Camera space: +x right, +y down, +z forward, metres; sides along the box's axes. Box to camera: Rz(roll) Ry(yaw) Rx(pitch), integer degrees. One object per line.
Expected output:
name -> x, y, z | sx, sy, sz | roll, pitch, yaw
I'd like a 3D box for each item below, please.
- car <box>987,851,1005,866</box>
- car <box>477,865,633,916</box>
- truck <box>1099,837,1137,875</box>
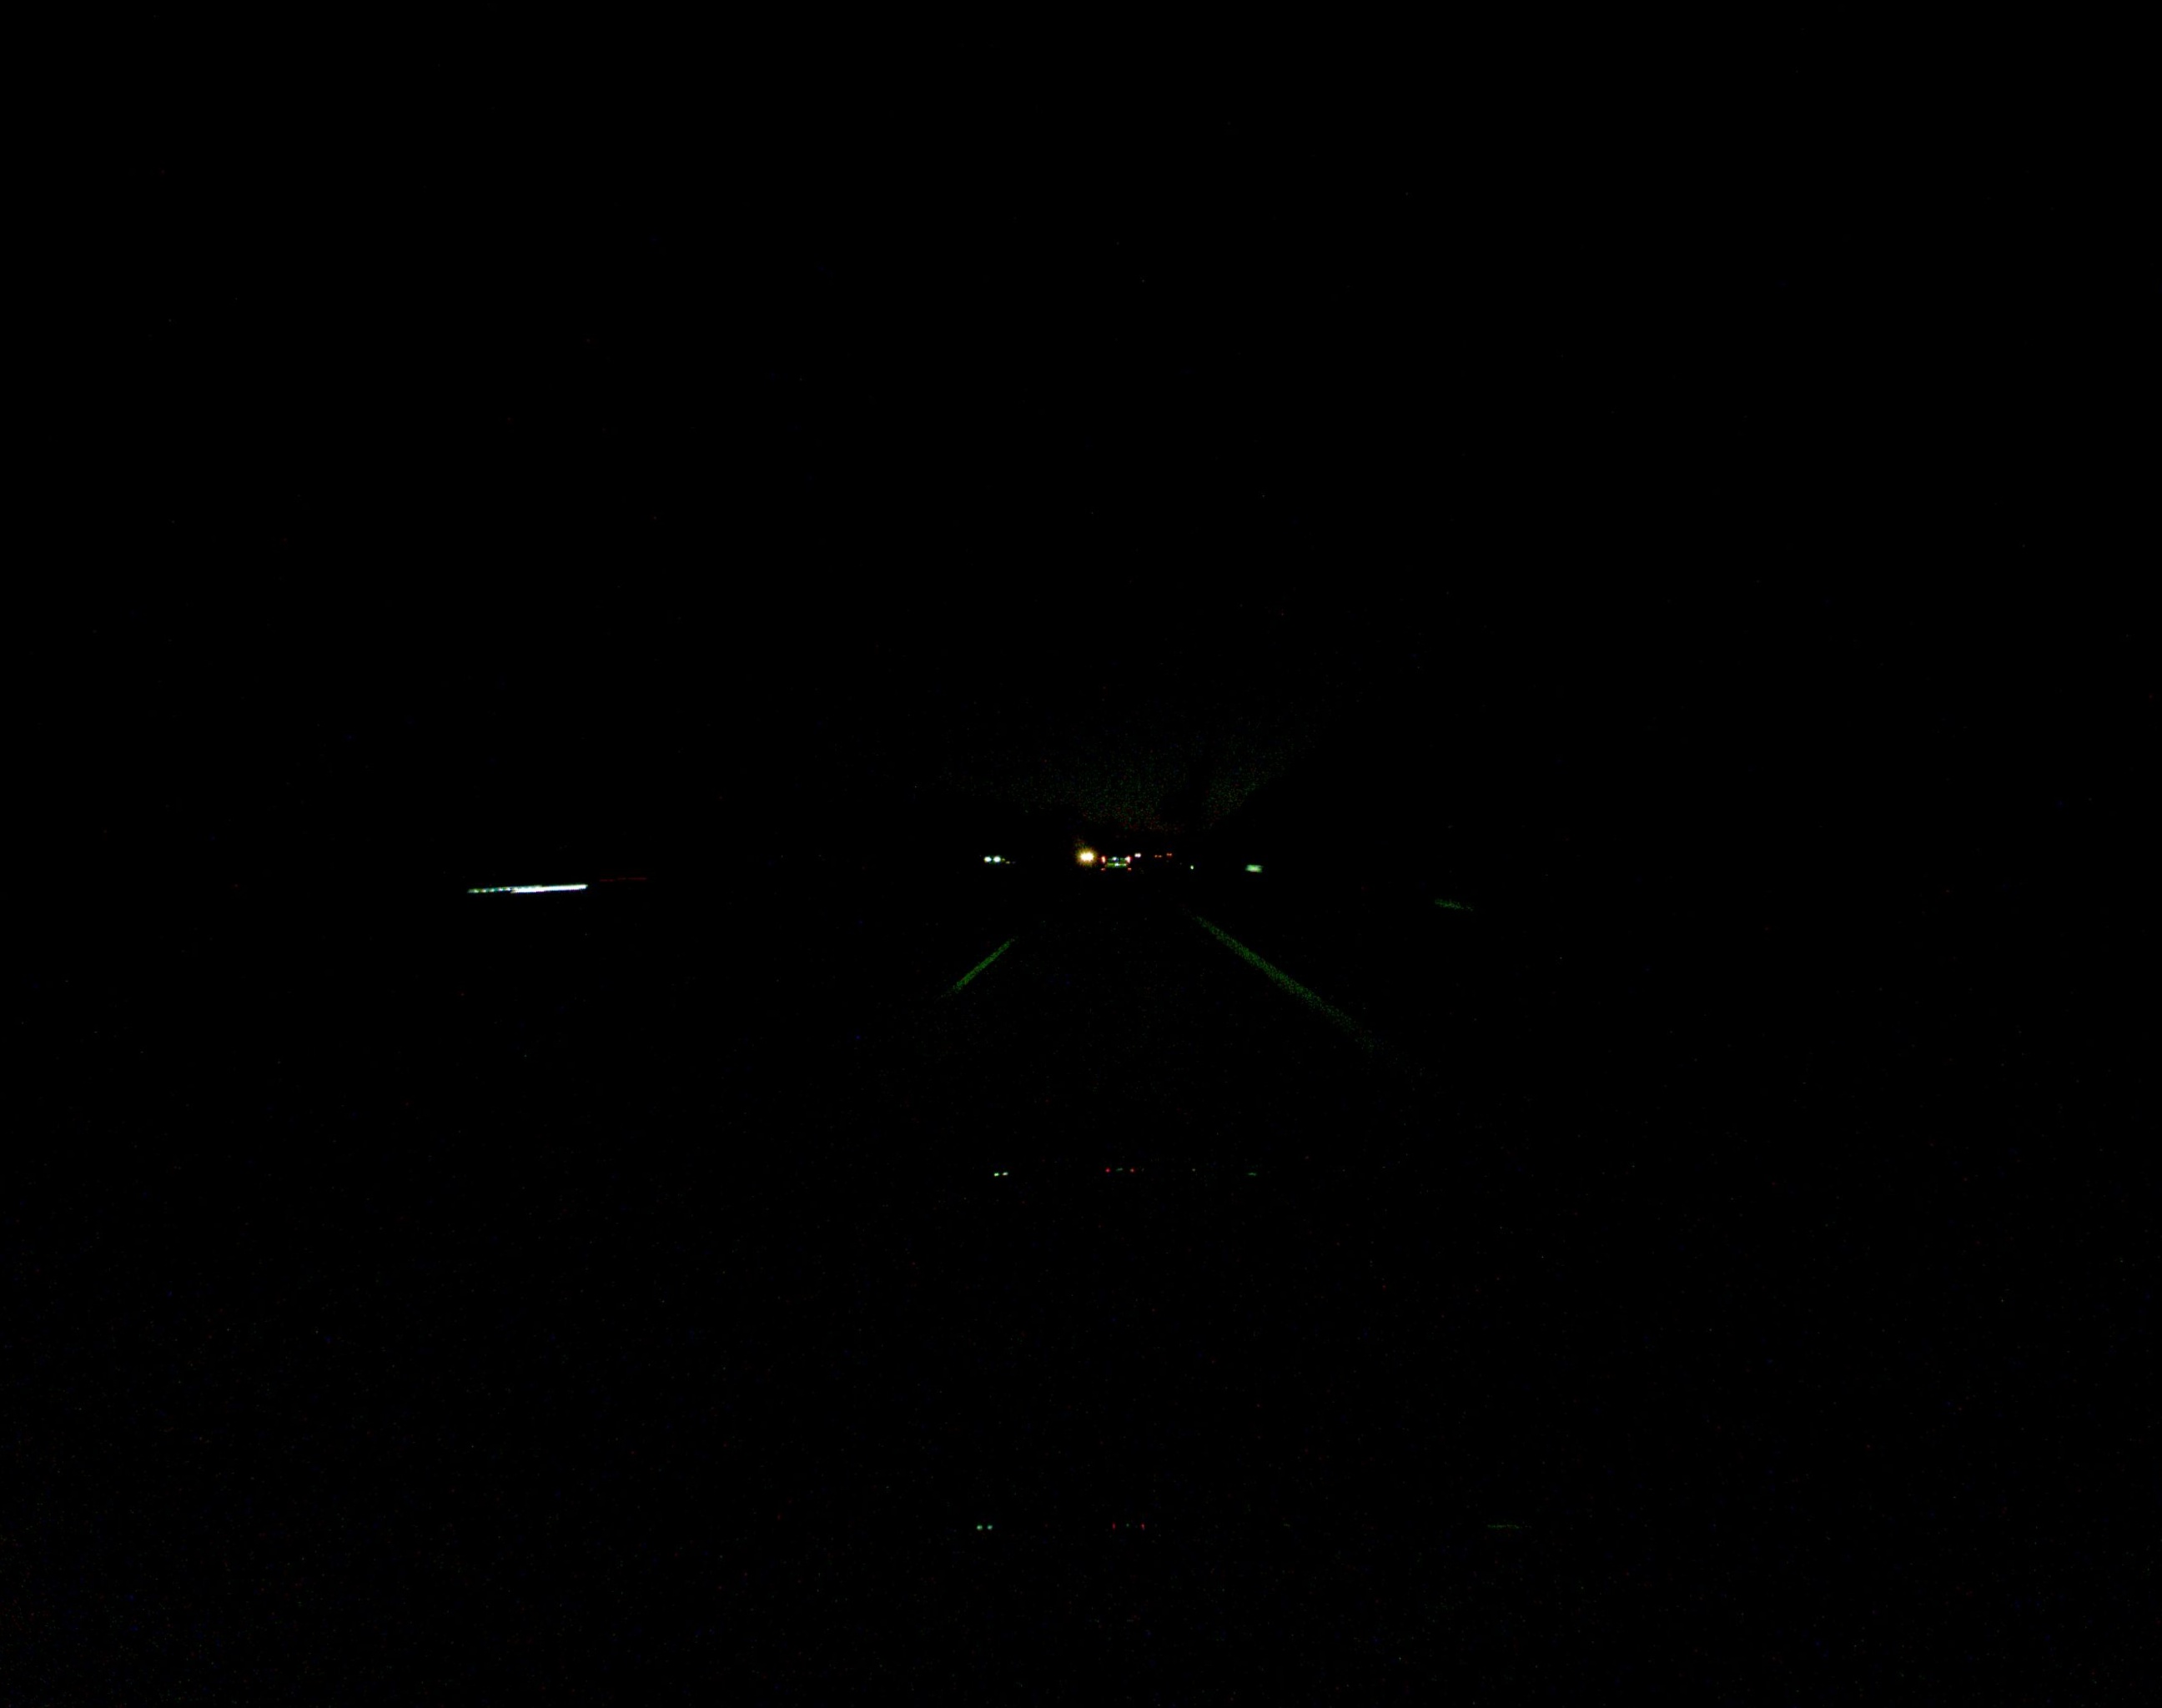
car -> -14.483, 0.779, 139.223 | 2.073, 2.487, 6.249 | -1, 0, 4
car -> -17.521, 1.160, 27.484 | 1.986, 1.480, 4.930 | -1, 0, 1
truck -> 2.717, 0.146, 61.943 | 2.621, 2.624, 8.685 | -1, 0, 1
